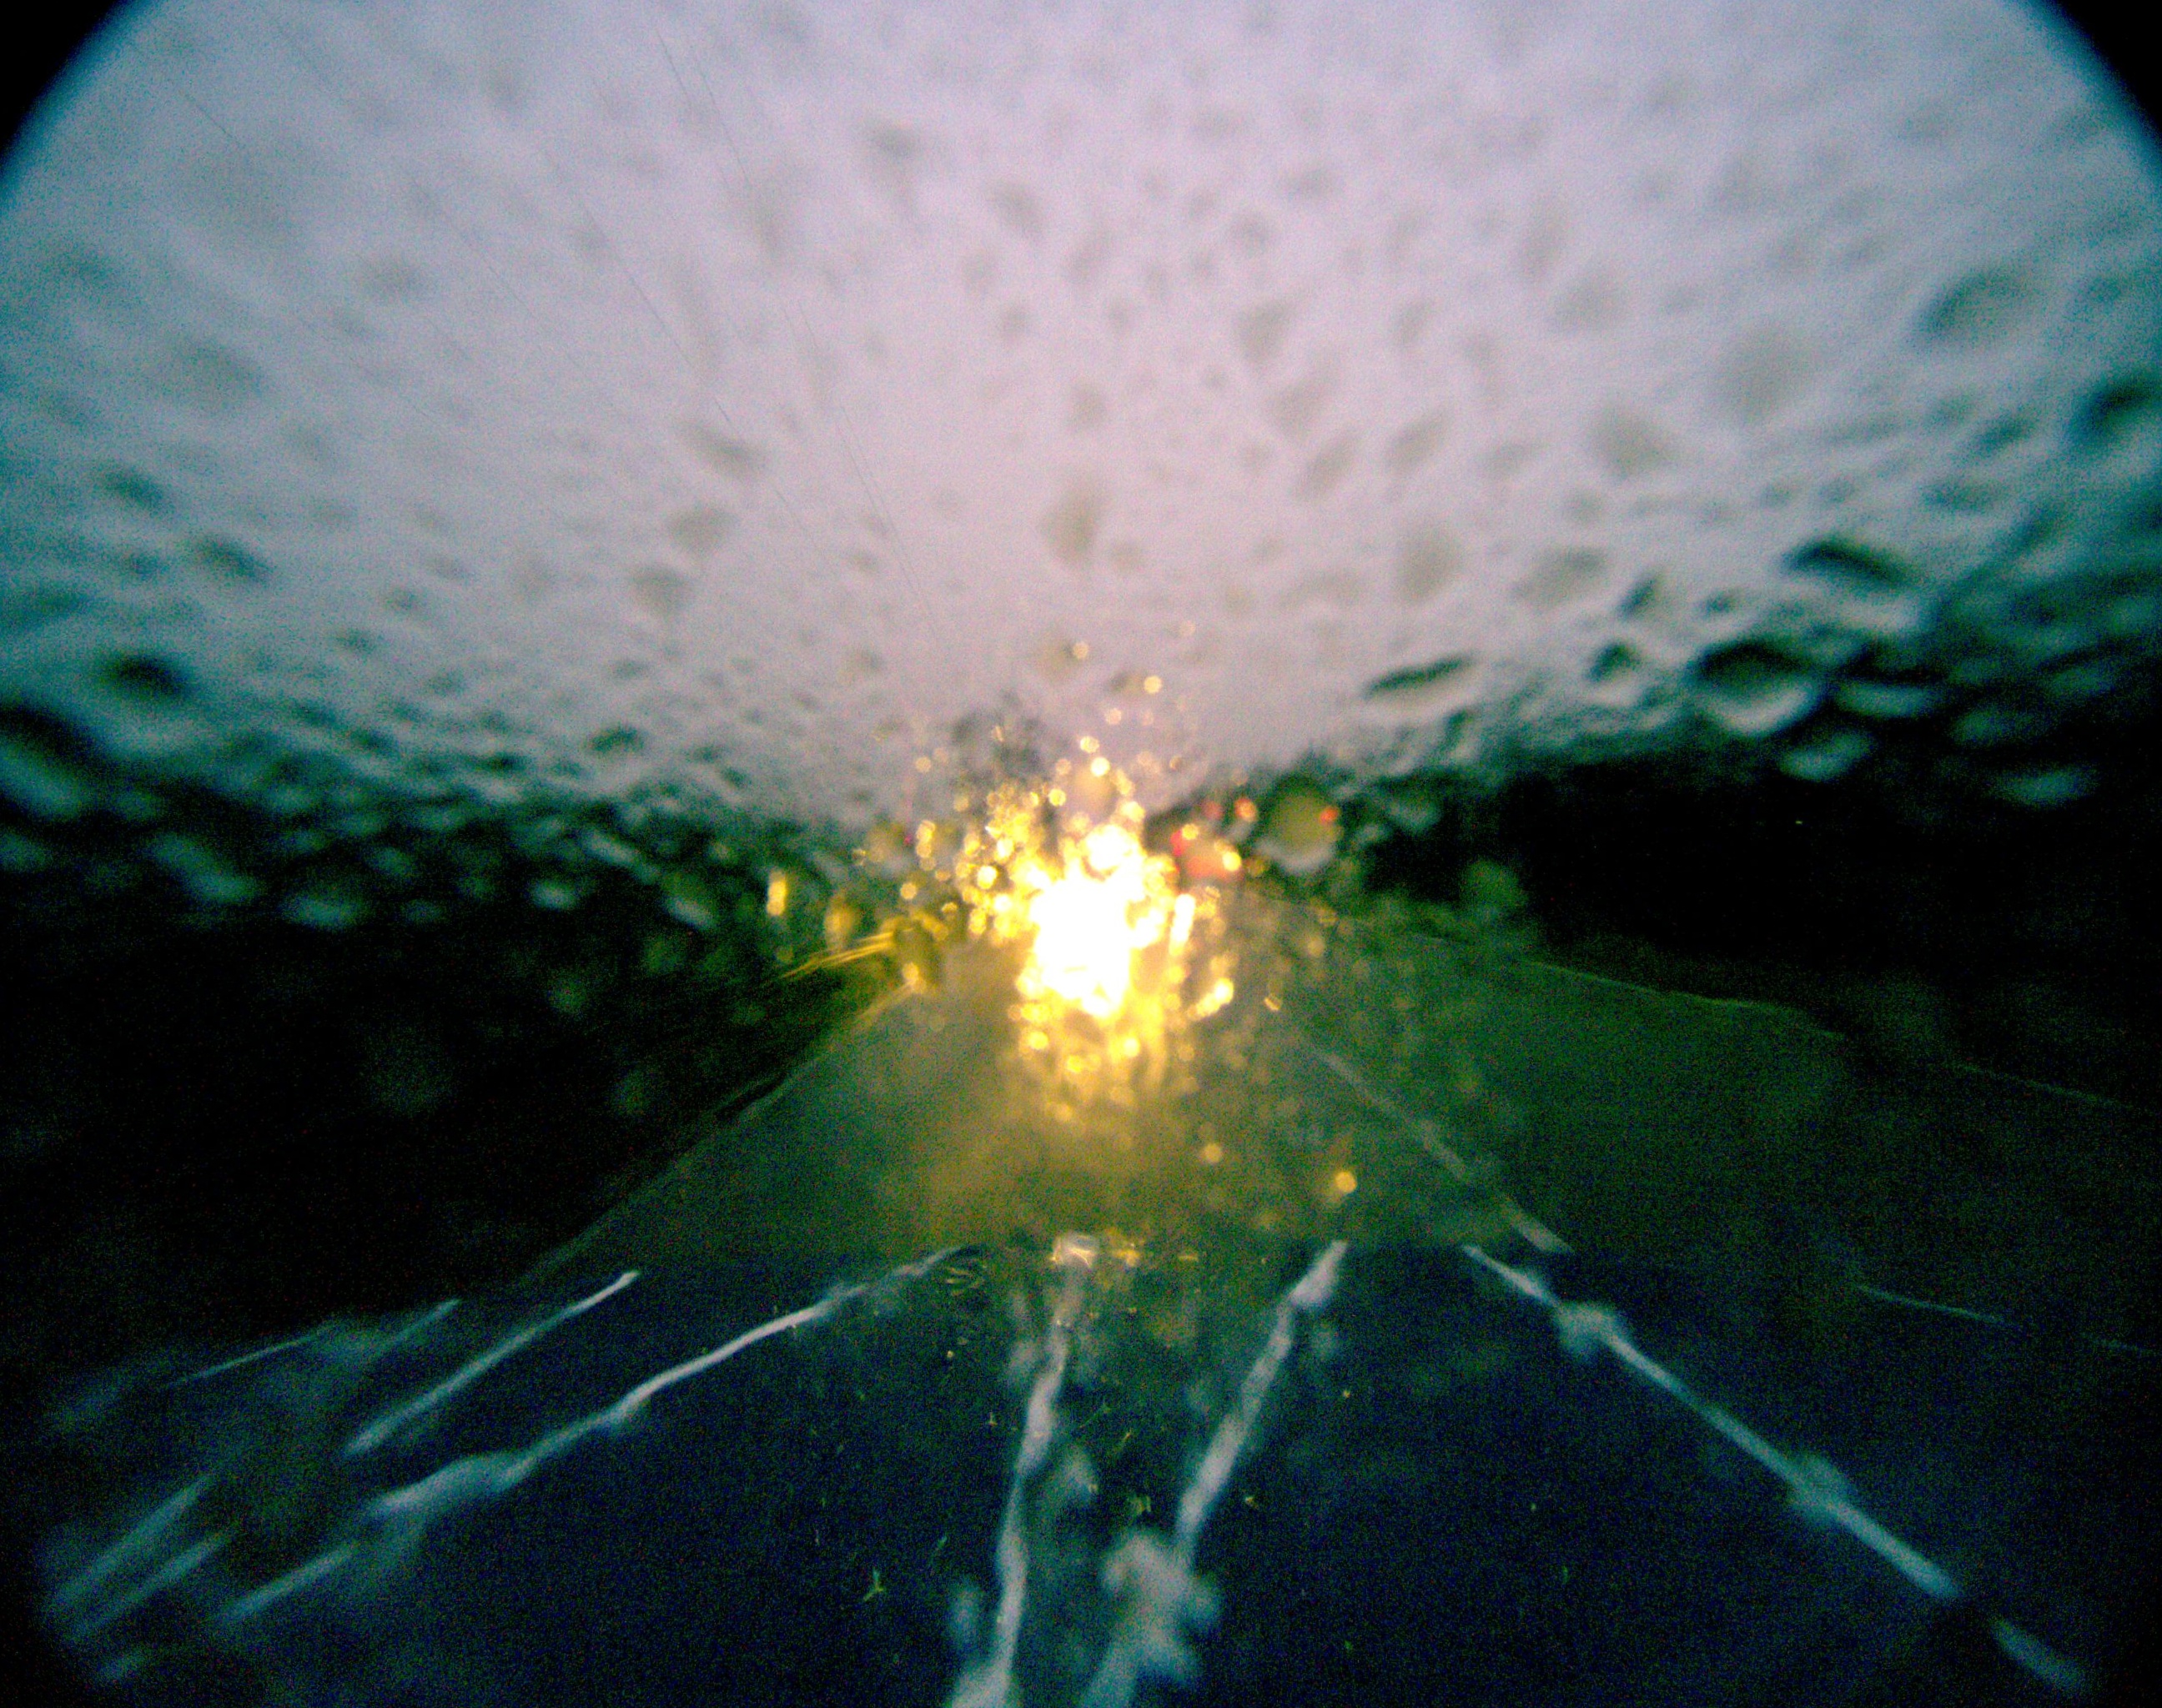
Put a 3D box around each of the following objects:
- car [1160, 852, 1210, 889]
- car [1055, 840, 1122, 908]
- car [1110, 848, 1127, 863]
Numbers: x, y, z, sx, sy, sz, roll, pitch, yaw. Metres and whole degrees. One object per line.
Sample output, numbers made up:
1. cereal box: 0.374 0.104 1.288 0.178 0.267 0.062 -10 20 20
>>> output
1. car: 4.433 0.683 32.937 1.649 1.455 3.872 -2 0 1
2. car: 0.159 0.583 24.862 1.857 2.002 3.998 -2 1 -3
3. car: 5.137 0.194 103.912 1.998 2.002 4.653 -1 1 0
